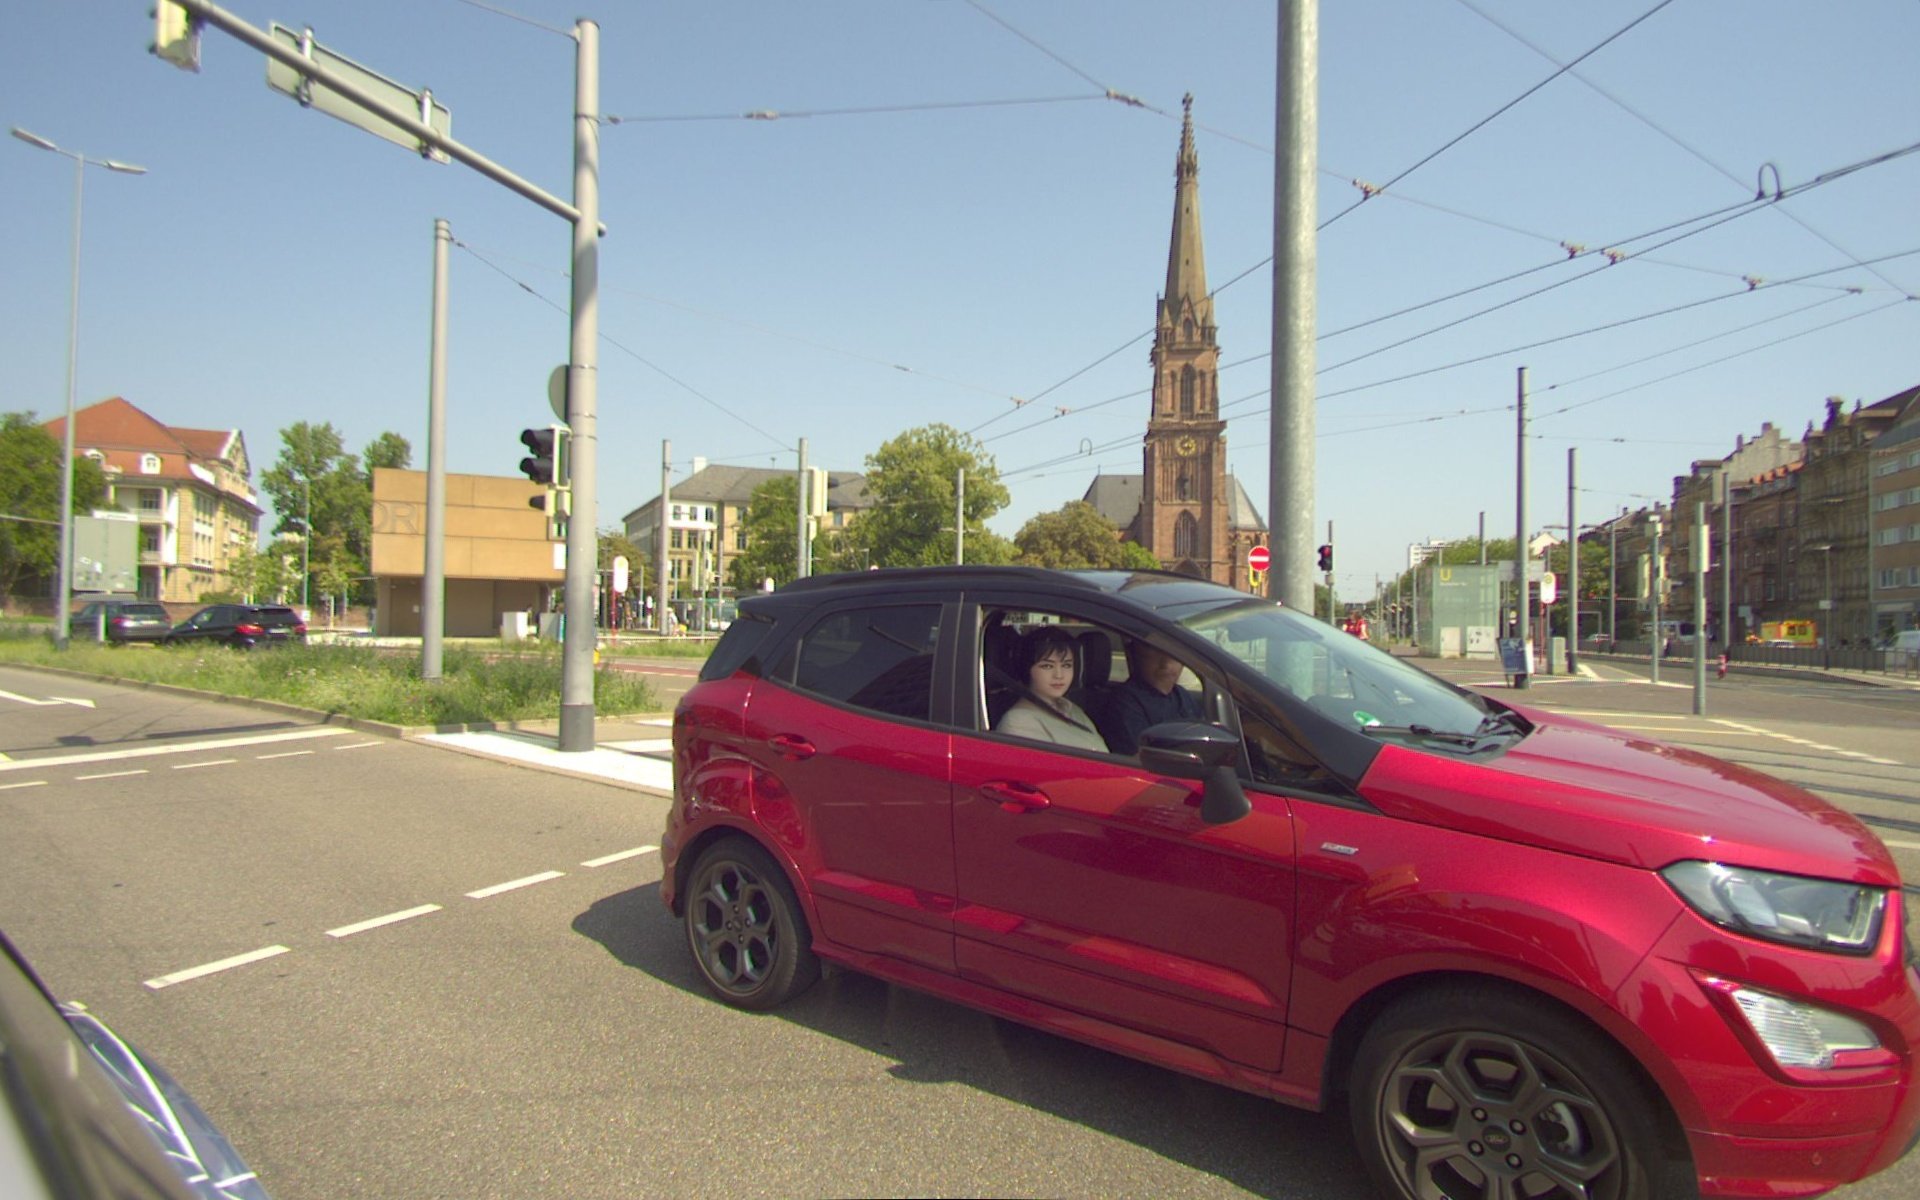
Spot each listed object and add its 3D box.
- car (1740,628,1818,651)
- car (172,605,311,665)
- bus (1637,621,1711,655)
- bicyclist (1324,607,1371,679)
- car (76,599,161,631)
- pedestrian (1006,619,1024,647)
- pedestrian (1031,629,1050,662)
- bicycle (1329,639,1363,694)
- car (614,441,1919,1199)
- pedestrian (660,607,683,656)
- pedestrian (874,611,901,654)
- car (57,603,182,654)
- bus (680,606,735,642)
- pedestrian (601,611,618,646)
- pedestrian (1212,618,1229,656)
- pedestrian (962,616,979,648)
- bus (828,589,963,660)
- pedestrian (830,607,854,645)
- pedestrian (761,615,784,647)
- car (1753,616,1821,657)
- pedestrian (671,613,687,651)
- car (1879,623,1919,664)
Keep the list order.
[{"bbox_3d":[54.971,2.644,68.062,1.981,1.298,5.520,0,0,15],"label":"car"},{"bbox_3d":[-19.422,0.916,27.337,3.690,1.532,1.663,0,-2,30],"label":"car"},{"bbox_3d":[68.631,3.624,97.582,2.523,3.055,12.353,0,-2,20],"label":"bus"},{"bbox_3d":[8.163,0.885,21.301,0.872,1.470,0.972,0,-2,24],"label":"bicyclist"},{"bbox_3d":[-54.751,1.013,65.938,1.976,1.985,3.991,0,-1,7],"label":"car"},{"bbox_3d":[3.150,1.882,58.224,0.771,1.560,0.681,3,-3,-30],"label":"pedestrian"},{"bbox_3d":[4.367,2.464,54.992,0.771,1.741,0.681,2,-2,-30],"label":"pedestrian"},{"bbox_3d":[8.141,1.381,21.318,0.611,1.077,1.898,0,-2,23],"label":"bicycle"},{"bbox_3d":[0.758,0.592,3.449,4.078,1.630,1.745,0,-2,39],"label":"car"},{"bbox_3d":[-10.754,1.165,37.723,0.560,1.830,0.553,-1,-2,39],"label":"pedestrian"},{"bbox_3d":[-3.127,1.406,43.758,0.780,1.793,0.952,0,-3,22],"label":"pedestrian"},{"bbox_3d":[-29.339,0.963,35.308,4.639,1.665,1.883,0,-2,30],"label":"car"},{"bbox_3d":[-23.956,2.150,95.494,2.498,3.054,12.477,0,0,-26],"label":"bus"},{"bbox_3d":[-16.586,1.341,47.931,0.508,1.658,0.567,0,0,23],"label":"pedestrian"},{"bbox_3d":[11.634,1.651,45.220,0.566,1.671,0.800,0,0,2],"label":"pedestrian"},{"bbox_3d":[0.523,1.561,49.590,0.567,1.540,0.602,3,-3,-26],"label":"pedestrian"},{"bbox_3d":[-3.837,1.282,54.722,2.631,3.356,12.800,1,-1,-25],"label":"bus"},{"bbox_3d":[-5.732,1.281,49.180,0.780,1.793,0.952,0,-3,22],"label":"pedestrian"},{"bbox_3d":[-10.648,1.758,57.580,0.954,1.793,0.778,0,-3,26],"label":"pedestrian"},{"bbox_3d":[60.579,2.662,74.249,2.292,2.910,5.554,-1,-2,23],"label":"car"},{"bbox_3d":[-10.356,1.168,37.280,0.349,1.385,0.456,-1,-2,39],"label":"pedestrian"},{"bbox_3d":[43.381,1.986,45.306,1.781,1.793,3.975,1,-3,18],"label":"car"}]
